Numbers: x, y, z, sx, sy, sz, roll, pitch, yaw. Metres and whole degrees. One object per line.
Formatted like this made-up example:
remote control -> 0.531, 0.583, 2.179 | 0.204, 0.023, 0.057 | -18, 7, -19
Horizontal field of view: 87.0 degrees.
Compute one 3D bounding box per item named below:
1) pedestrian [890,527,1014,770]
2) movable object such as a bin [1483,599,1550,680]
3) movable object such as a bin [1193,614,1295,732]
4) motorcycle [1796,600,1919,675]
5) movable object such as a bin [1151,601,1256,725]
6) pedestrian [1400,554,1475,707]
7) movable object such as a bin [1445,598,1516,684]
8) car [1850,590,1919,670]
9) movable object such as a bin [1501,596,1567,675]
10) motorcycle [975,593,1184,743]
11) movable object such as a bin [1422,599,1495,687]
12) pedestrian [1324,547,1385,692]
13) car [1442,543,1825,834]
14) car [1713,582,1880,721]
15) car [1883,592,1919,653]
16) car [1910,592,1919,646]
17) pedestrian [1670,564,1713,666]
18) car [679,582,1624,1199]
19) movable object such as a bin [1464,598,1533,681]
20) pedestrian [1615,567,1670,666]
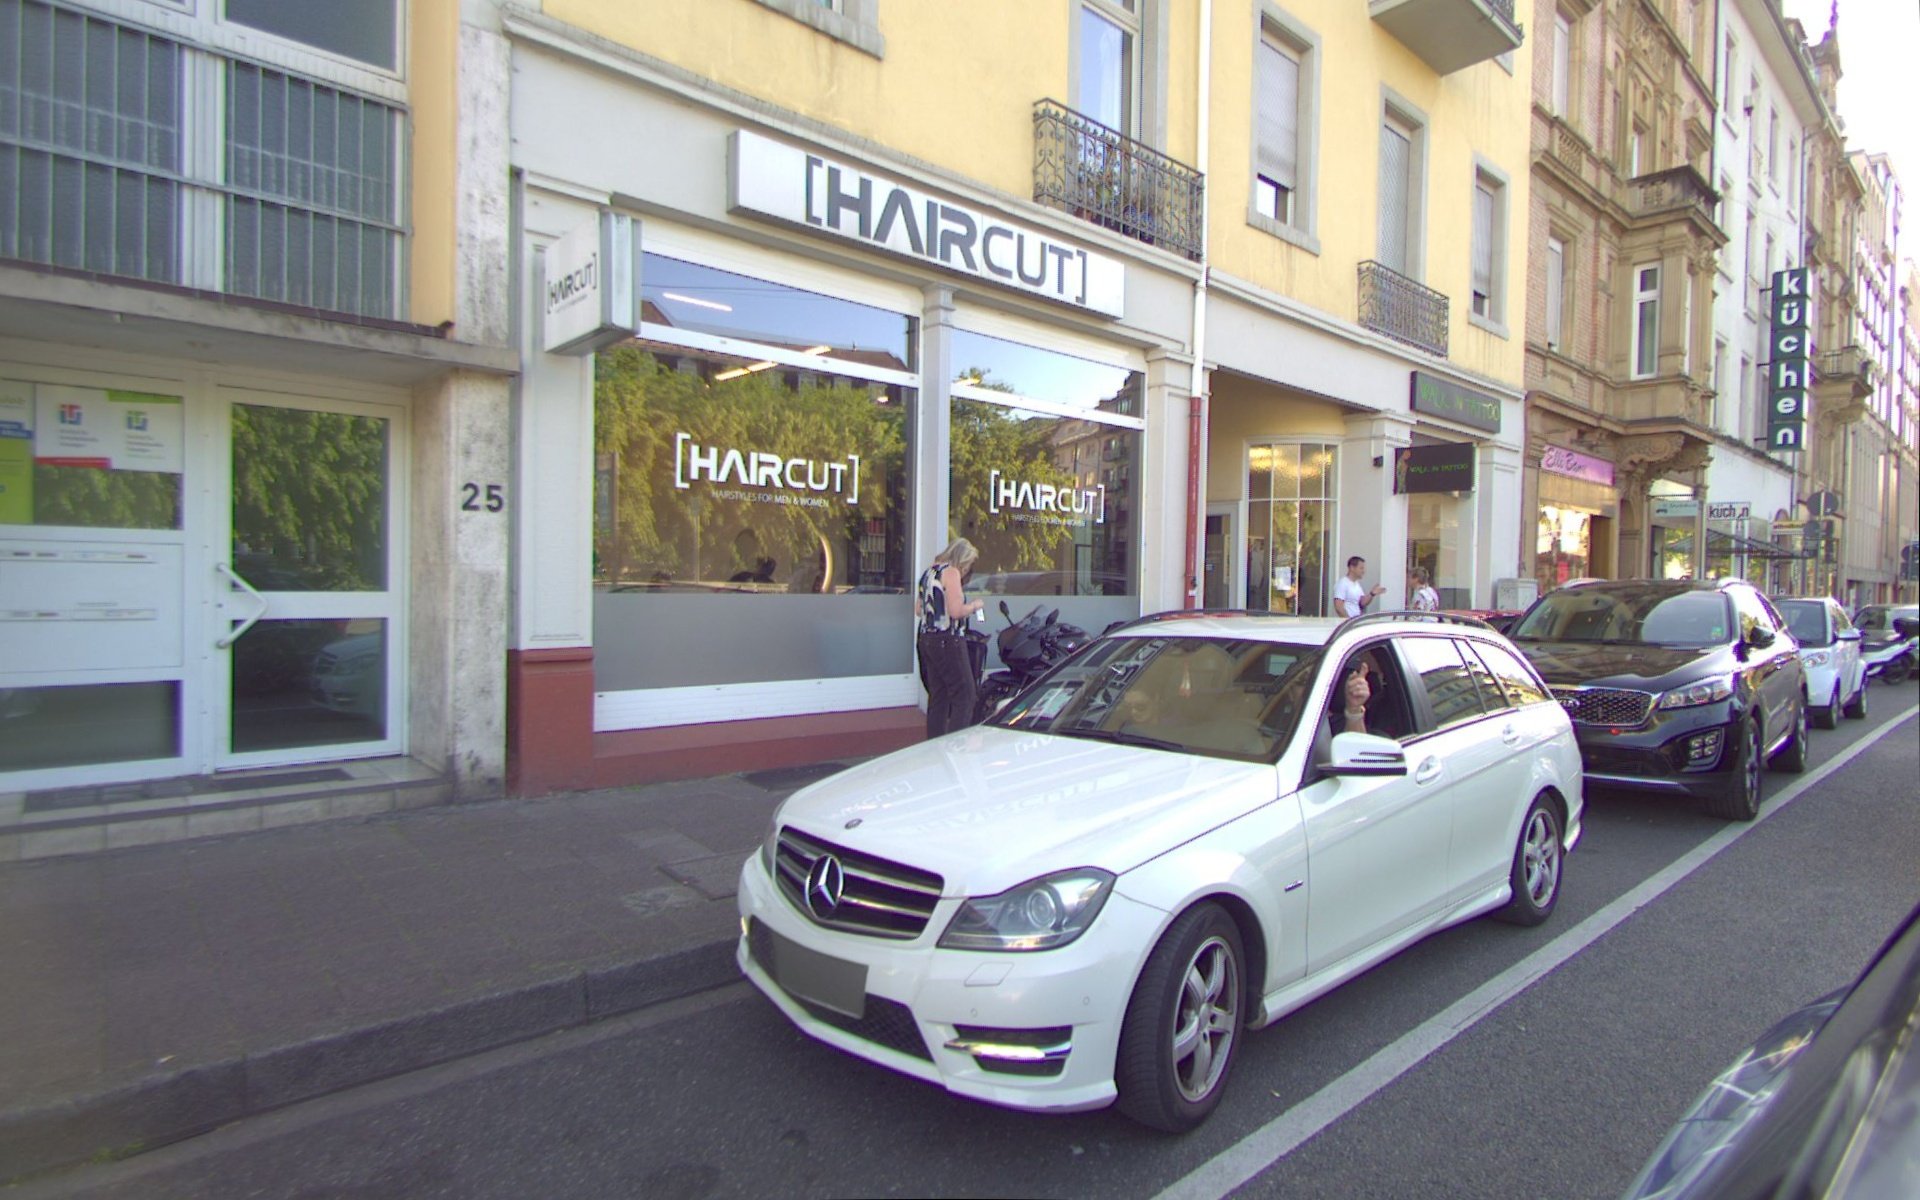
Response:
pedestrian -> -0.064, 0.316, 7.322 | 0.523, 1.653, 0.697 | 0, 2, -42
movable object such as a bin -> 7.922, 0.540, 14.408 | 0.608, 1.079, 0.606 | 0, 4, -41
movable object such as a bin -> 2.745, 0.681, 9.796 | 0.608, 1.037, 0.669 | 1, 3, -38
motorcycle -> 16.699, 0.673, 18.418 | 2.137, 1.295, 0.866 | 1, 0, 8
movable object such as a bin -> 2.259, 0.561, 9.401 | 0.608, 1.054, 0.662 | 1, 3, -38
pedestrian -> 5.379, 0.332, 11.431 | 0.582, 1.681, 0.451 | 2, 1, 5
movable object such as a bin -> 6.992, 0.538, 13.609 | 0.608, 1.079, 0.606 | 0, 4, -41
car -> 19.865, 0.566, 21.015 | 4.096, 1.537, 1.734 | 0, 1, -44
movable object such as a bin -> 8.393, 0.505, 14.804 | 0.608, 1.079, 0.606 | 0, 4, -41
motorcycle -> 1.046, 0.507, 8.459 | 1.975, 1.105, 0.551 | 0, 2, -42
movable object such as a bin -> 6.502, 0.544, 13.203 | 0.608, 1.079, 0.606 | 0, 4, -41
pedestrian -> 4.668, 0.227, 11.988 | 0.513, 1.681, 0.339 | 1, 1, -18
car -> 5.726, 0.507, 8.334 | 4.498, 1.758, 1.756 | 0, 1, -45
car -> 10.454, 0.557, 12.598 | 2.748, 1.537, 1.273 | 0, 1, -44
car -> 24.129, 0.536, 24.857 | 3.736, 1.435, 1.736 | 0, 1, -41
car -> 27.521, 0.512, 27.776 | 3.736, 1.435, 1.736 | 0, 1, -41
pedestrian -> 12.176, 0.242, 16.845 | 0.409, 1.653, 0.512 | 1, 0, 16
car -> 1.209, 0.675, 4.403 | 4.387, 1.465, 1.741 | 0, 1, -42
movable object such as a bin -> 7.450, 0.532, 14.002 | 0.608, 1.079, 0.606 | 0, 4, -41
pedestrian -> 11.627, 0.264, 17.256 | 0.453, 1.653, 0.619 | 0, 0, -26
